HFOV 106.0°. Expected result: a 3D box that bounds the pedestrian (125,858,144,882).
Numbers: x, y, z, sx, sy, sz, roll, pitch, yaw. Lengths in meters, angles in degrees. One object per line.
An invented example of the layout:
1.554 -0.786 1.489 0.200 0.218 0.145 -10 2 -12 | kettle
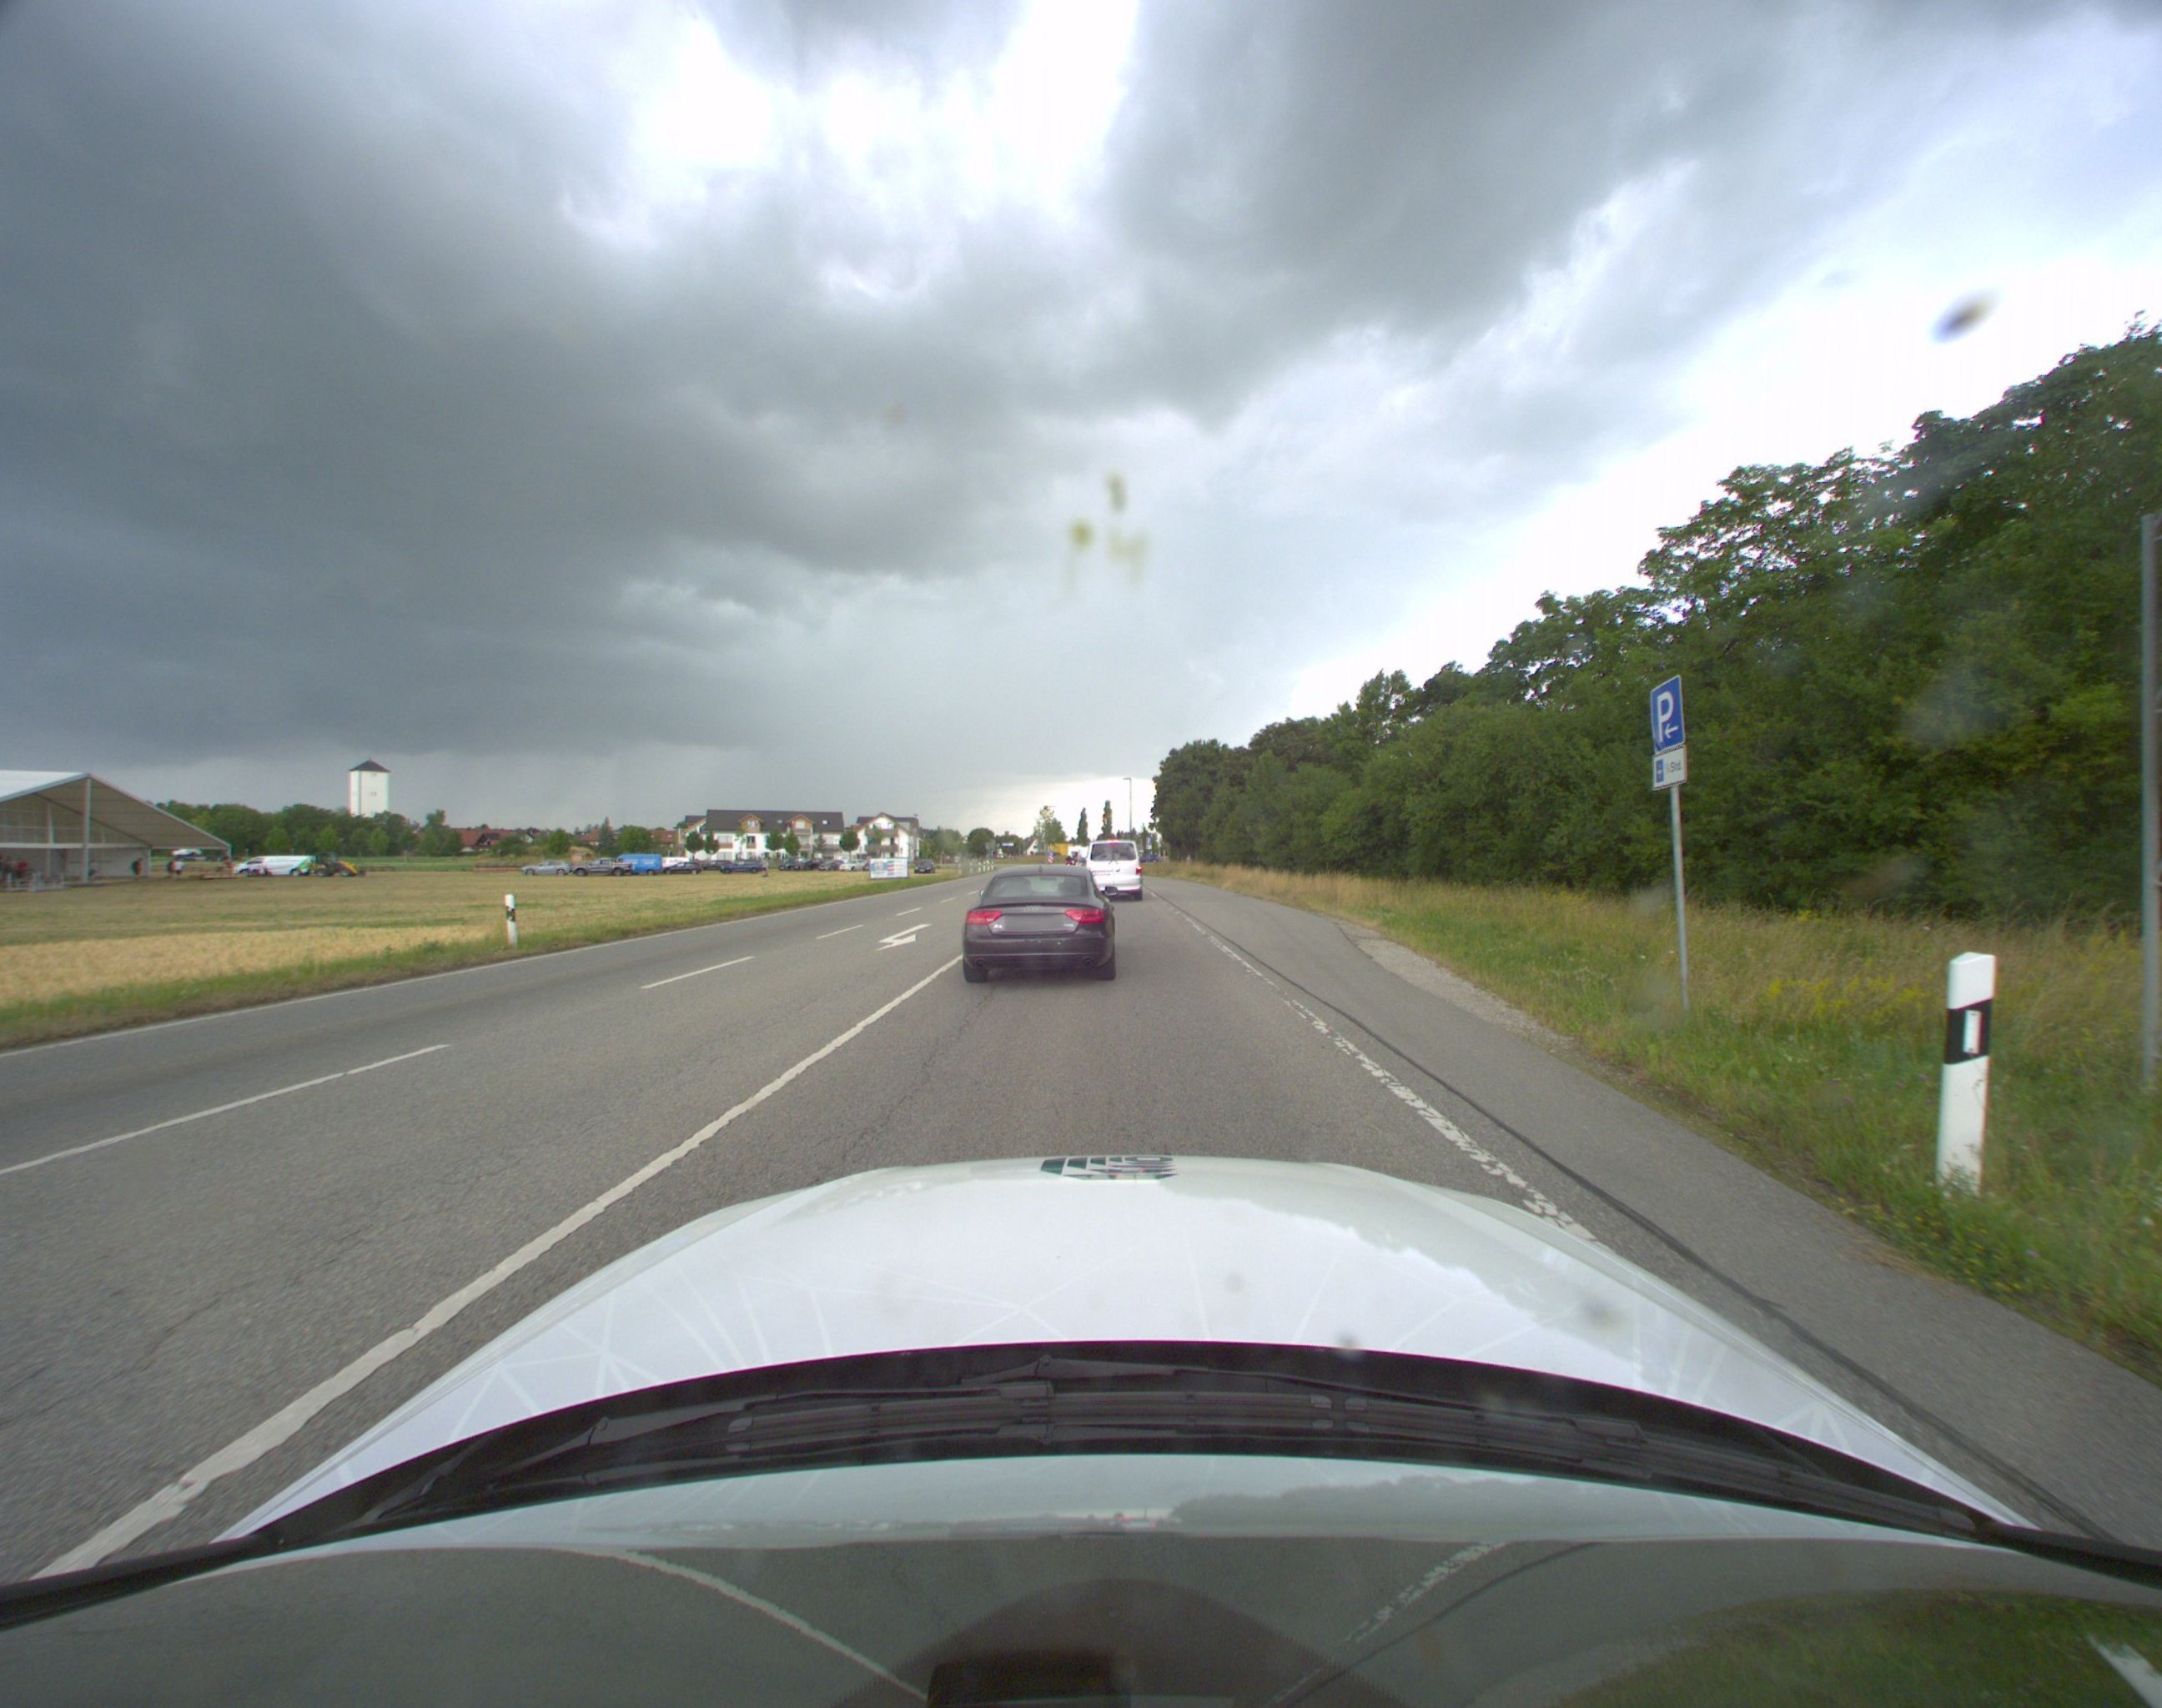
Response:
-72.200 1.226 62.115 0.693 1.776 0.687 0 -1 -14 | pedestrian

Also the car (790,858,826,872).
-33.888 1.318 101.080 1.977 1.629 4.233 -1 0 20 | car

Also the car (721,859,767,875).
-38.630 1.457 93.516 4.730 1.697 1.987 0 0 -19 | car

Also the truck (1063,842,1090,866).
-0.577 -0.005 94.623 2.622 2.737 5.856 0 0 -5 | truck

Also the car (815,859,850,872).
-30.718 1.367 100.655 1.977 1.536 4.233 -1 0 20 | car

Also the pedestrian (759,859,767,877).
-31.651 1.350 81.024 0.548 1.786 0.676 0 -1 -10 | pedestrian

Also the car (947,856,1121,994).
-0.466 0.780 10.935 1.868 1.454 4.178 -1 0 1 | car

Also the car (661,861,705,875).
-44.591 1.549 91.264 4.168 1.519 1.987 0 0 -19 | car

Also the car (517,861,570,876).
-55.224 1.495 83.768 4.316 1.461 1.876 0 0 -25 | car

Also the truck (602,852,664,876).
-47.576 1.016 86.554 5.469 2.446 2.377 0 0 -22 | truck

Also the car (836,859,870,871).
-27.996 1.319 100.138 1.977 1.446 4.233 -1 0 20 | car

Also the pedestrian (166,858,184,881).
-72.883 1.263 65.539 0.622 1.866 0.709 0 -1 0 | pedestrian

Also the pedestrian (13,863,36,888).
-73.445 1.490 56.627 0.655 1.744 0.723 0 -1 -19 | pedestrian

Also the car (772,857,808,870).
-36.963 1.185 103.451 1.977 1.629 4.233 -1 0 20 | car

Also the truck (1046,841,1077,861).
-3.777 -0.569 156.231 3.584 3.578 9.901 0 0 -16 | truck

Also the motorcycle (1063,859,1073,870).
-1.311 1.064 83.362 0.942 1.019 2.282 0 0 -2 | motorcycle

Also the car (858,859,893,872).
-25.119 1.377 99.682 1.977 1.446 4.233 -1 0 20 | car

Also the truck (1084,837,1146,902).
1.126 0.471 27.595 1.897 1.998 4.630 0 0 2 | truck

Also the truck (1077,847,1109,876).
0.940 0.511 59.051 2.185 2.014 5.087 0 0 2 | truck

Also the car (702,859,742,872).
-46.368 1.475 105.306 4.639 1.697 1.987 0 0 -19 | car

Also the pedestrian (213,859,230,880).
-72.611 1.295 68.806 0.690 1.776 0.690 0 -1 -18 | pedestrian

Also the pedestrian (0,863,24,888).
-74.327 1.488 56.603 0.732 1.779 0.755 0 -1 -19 | pedestrian

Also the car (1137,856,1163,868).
11.679 1.384 137.469 3.953 2.014 2.010 0 0 21 | car

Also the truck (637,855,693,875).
-48.017 1.246 94.167 5.586 2.196 2.588 0 0 -22 | truck

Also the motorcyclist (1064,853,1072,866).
-1.316 0.542 83.293 0.783 1.356 0.853 0 0 -2 | motorcyclist

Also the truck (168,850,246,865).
-153.988 0.535 143.607 9.337 2.530 3.292 0 0 -7 | truck

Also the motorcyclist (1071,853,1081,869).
-0.421 0.591 69.652 0.769 1.383 0.820 0 0 0 | motorcyclist

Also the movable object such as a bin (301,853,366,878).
-68.782 1.064 74.971 4.006 2.243 1.869 0 0 -27 | movable object such as a bin

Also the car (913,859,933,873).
-16.847 1.286 87.043 1.993 1.442 3.988 0 1 -9 | car

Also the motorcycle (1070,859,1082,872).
-0.415 1.003 69.640 0.917 1.094 2.189 0 0 1 | motorcycle

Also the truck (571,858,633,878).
-48.413 1.425 82.443 5.252 1.920 2.095 0 0 -25 | truck

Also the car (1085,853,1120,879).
1.283 0.712 49.150 1.986 1.485 4.001 -1 0 1 | car

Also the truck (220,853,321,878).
-75.262 1.060 75.768 6.075 2.217 2.698 0 0 -26 | truck

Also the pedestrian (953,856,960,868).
-16.060 1.025 104.939 0.695 1.586 0.661 -1 -1 18 | pedestrian
